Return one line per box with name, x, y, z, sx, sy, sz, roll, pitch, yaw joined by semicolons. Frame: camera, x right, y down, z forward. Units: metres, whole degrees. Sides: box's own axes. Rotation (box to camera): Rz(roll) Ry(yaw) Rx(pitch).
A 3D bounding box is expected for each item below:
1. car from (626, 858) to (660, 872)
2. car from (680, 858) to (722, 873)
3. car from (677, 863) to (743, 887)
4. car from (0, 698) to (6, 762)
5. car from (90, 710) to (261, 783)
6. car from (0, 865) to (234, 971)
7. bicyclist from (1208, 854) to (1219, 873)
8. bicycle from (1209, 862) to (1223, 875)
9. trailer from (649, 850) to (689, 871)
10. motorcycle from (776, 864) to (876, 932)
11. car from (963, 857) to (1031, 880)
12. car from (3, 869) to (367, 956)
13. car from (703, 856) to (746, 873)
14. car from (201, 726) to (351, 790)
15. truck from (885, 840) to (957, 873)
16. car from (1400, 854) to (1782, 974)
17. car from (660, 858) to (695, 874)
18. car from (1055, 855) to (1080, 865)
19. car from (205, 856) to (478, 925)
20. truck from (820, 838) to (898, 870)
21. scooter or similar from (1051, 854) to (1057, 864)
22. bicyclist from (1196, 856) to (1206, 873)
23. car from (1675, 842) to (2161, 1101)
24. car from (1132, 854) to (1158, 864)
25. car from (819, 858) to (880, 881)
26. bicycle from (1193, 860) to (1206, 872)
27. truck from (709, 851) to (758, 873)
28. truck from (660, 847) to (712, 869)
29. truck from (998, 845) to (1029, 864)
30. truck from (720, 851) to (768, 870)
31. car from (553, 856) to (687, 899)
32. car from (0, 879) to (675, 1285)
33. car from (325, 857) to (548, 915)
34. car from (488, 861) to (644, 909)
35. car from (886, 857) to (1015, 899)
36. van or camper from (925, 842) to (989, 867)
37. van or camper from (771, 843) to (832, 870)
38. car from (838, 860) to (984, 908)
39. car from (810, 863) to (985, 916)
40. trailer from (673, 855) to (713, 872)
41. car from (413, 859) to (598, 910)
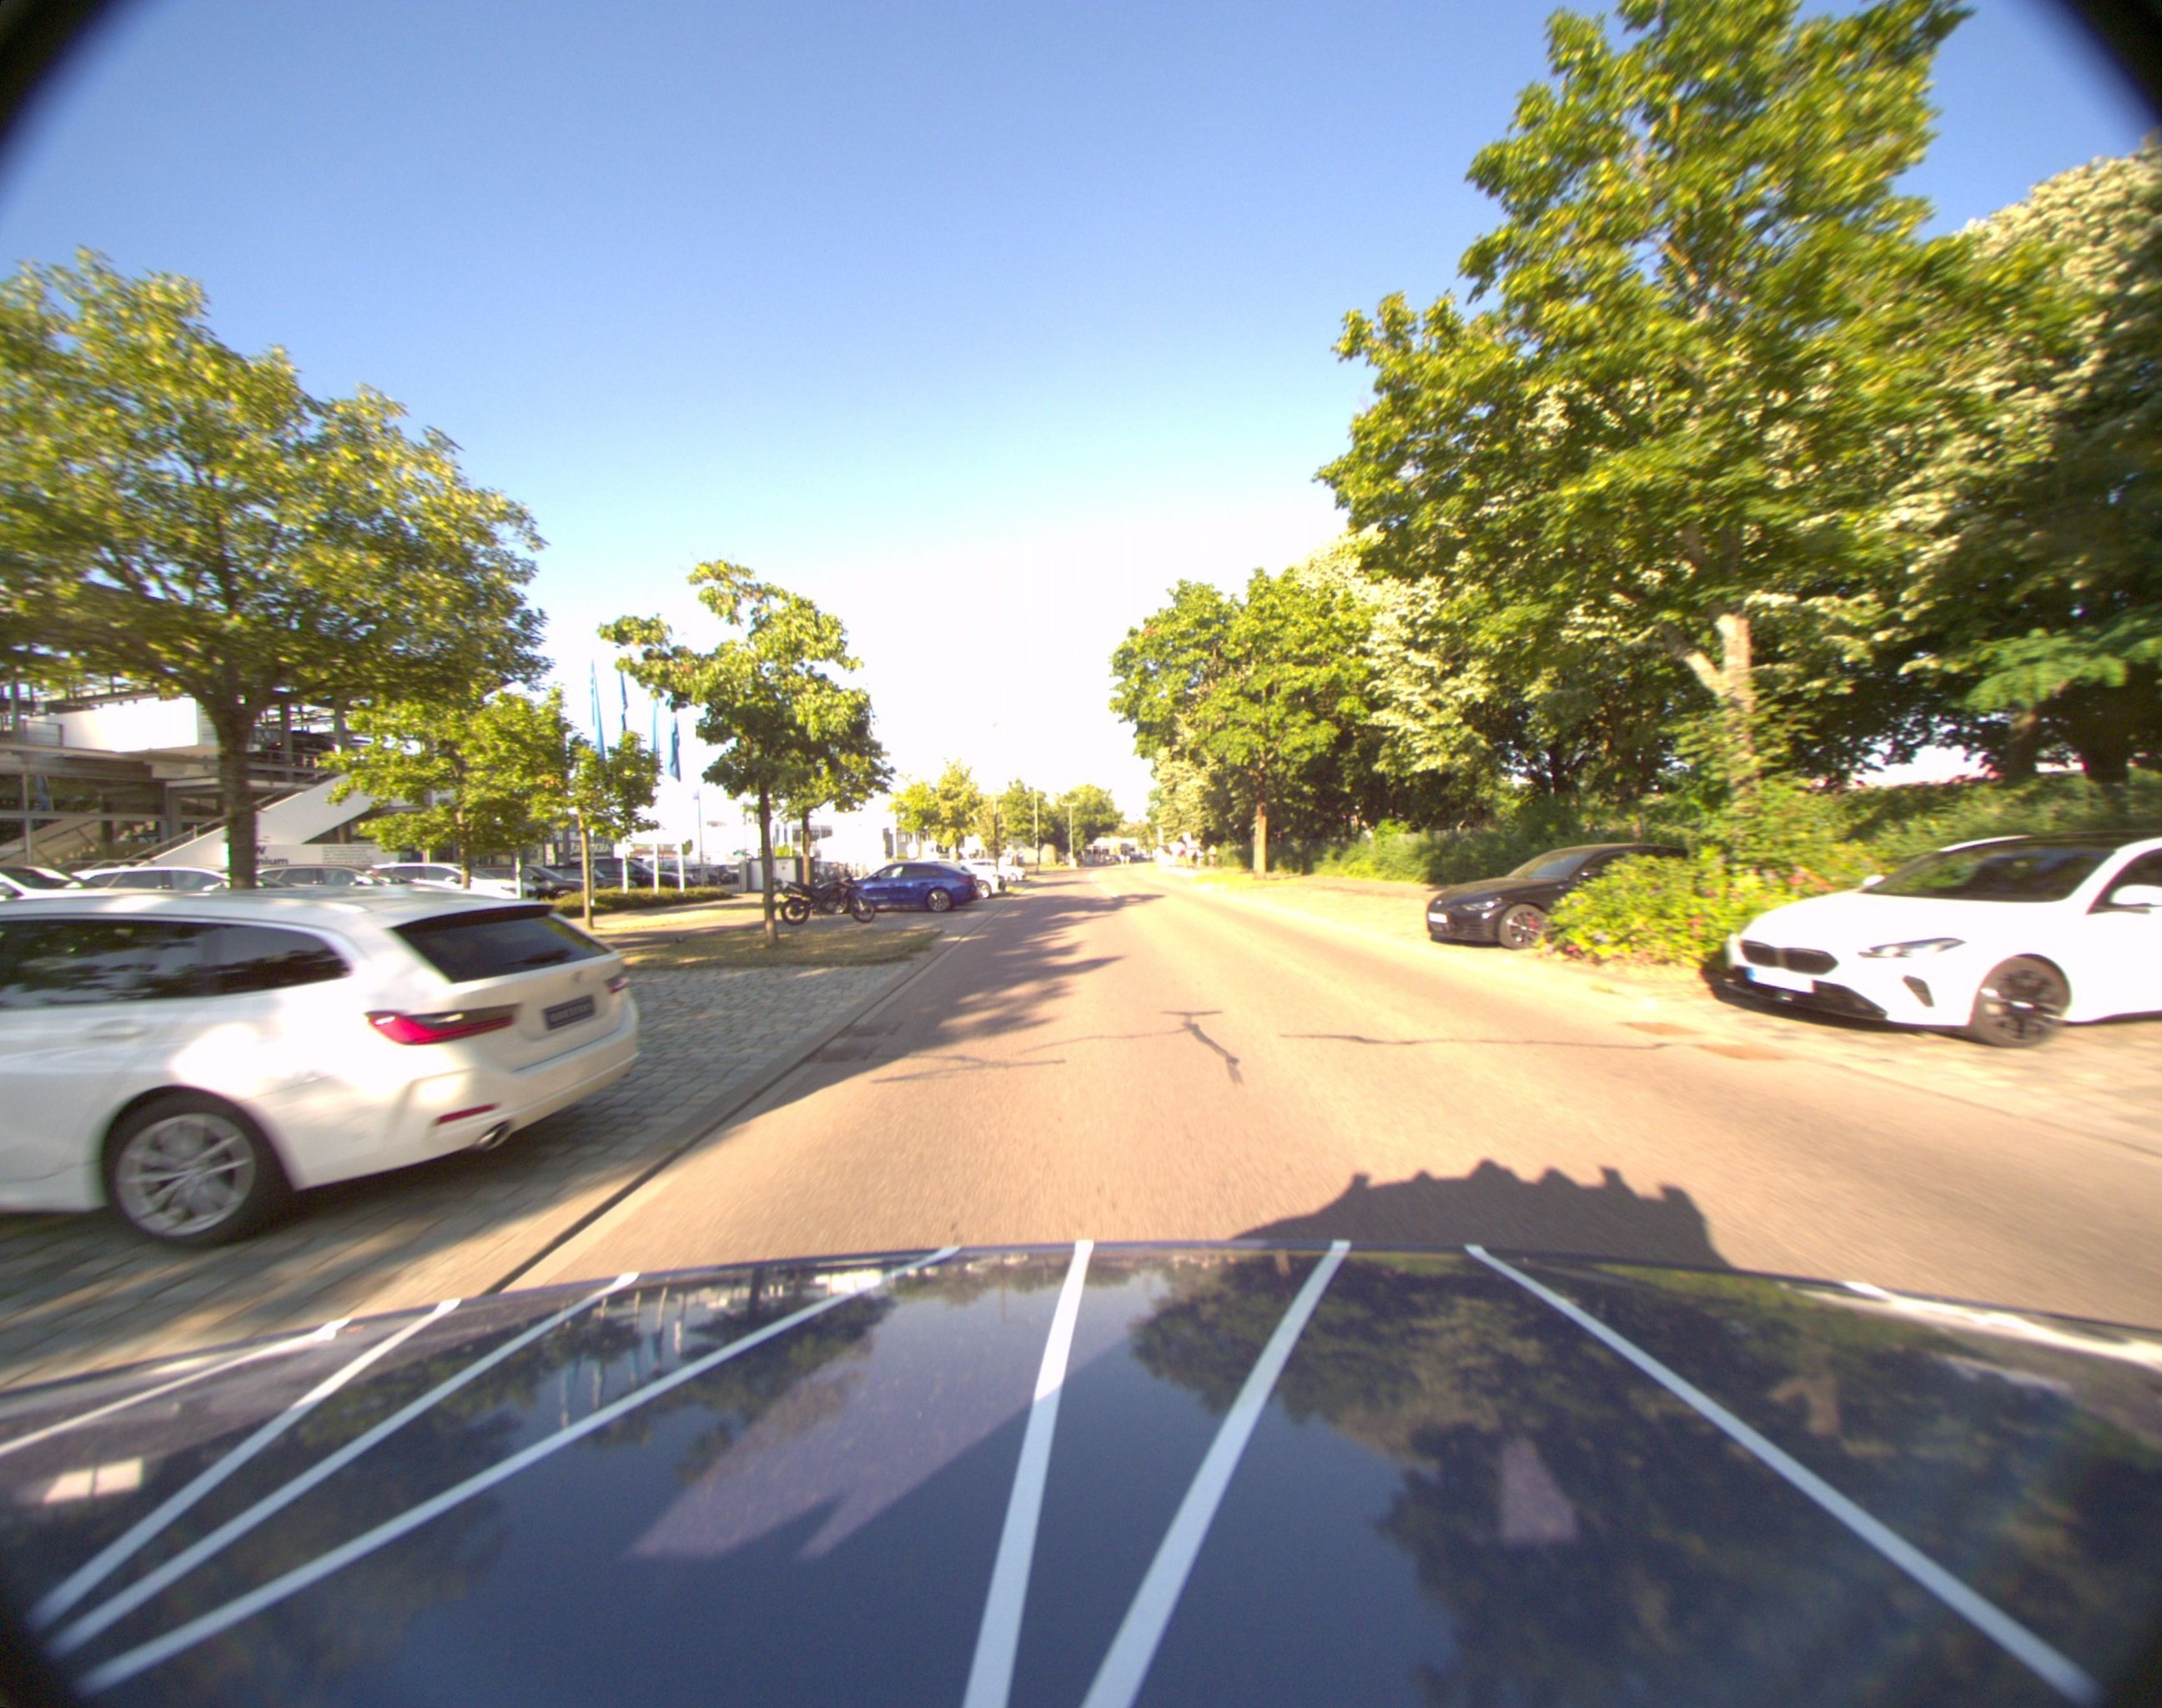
car;-67.529;1.627;117.082;1.995;2.002;4.008;-1;0;31
car;-54.547;1.618;109.083;1.995;2.002;5.061;-1;0;30
car;-27.563;1.520;56.500;3.991;1.570;2.162;-1;3;19
car;-30.326;-3.101;19.441;3.993;1.656;1.789;-4;-1;13
car;-28.744;-3.351;24.153;3.993;1.656;1.789;-4;-1;13
car;-18.761;1.073;13.252;4.734;1.680;2.407;0;0;-22
bicyclist;10.692;0.742;61.308;0.732;1.521;0.951;-1;0;0
bicycle;10.895;1.154;61.350;0.767;1.033;2.217;-1;0;0
trailer;-61.941;0.978;114.358;1.995;3.051;4.867;-1;0;31
motorcycle;-5.914;0.999;17.761;2.131;1.457;0.948;-1;0;-16
car;-5.429;0.924;49.640;4.209;1.435;2.088;0;0;-2
car;-18.755;1.141;16.299;4.611;1.565;1.996;0;0;-27
car;-49.530;1.425;105.547;1.995;2.001;5.060;-4;-1;30
car;-28.386;-3.334;26.826;3.993;1.656;1.789;-4;-1;13
truck;-17.981;0.357;85.362;8.231;3.501;3.121;-1;0;36
car;7.742;0.859;11.853;4.661;1.413;1.916;-4;0;-2
car;-59.558;1.727;112.136;2.083;2.264;4.008;-1;0;31
car;-2.836;1.362;161.821;4.833;2.002;2.304;-2;0;38
car;-18.634;0.846;19.506;4.611;1.565;1.996;0;0;-27
truck;-26.618;0.030;90.875;10.091;3.623;3.302;-1;0;35
scooter or similar;-3.840;0.687;107.966;0.547;1.328;1.483;-1;0;14
bicyclist;10.861;0.913;68.755;0.732;1.521;0.951;-1;0;0
car;7.779;0.791;6.152;4.297;1.522;2.000;-4;0;1
car;14.058;1.045;166.393;5.275;2.002;2.410;-2;0;39
car;-17.517;1.174;57.484;3.991;1.569;2.003;-1;0;19
bicycle;10.781;1.119;69.246;0.767;1.033;2.217;-2;0;0
truck;-56.231;1.211;123.057;1.995;3.331;7.127;-1;0;32
truck;-65.515;0.662;126.141;2.670;3.554;7.127;-1;0;32
truck;-10.181;0.040;115.483;2.541;2.704;5.979;-2;0;16
truck;-53.780;0.942;121.368;1.995;2.889;7.127;-1;0;32
car;-19.129;0.944;31.824;4.611;1.657;1.996;0;0;-26
car;-4.965;0.907;3.844;4.707;1.471;2.000;0;0;-2
car;-18.867;0.898;22.532;4.608;1.565;1.997;0;0;-15
car;-19.149;1.101;28.539;4.611;1.657;1.996;0;0;-27
car;-4.987;0.902;29.501;4.601;1.575;2.000;0;0;1
van or camper;-15.860;0.081;96.974;7.990;2.883;2.948;-1;0;31
van or camper;-36.106;0.366;98.057;8.118;3.309;2.419;-1;0;27
car;-5.512;0.961;25.096;4.387;1.471;2.000;0;0;-1
car;-5.273;1.014;22.329;4.636;1.448;2.000;0;0;-1
trailer;-57.061;1.370;111.869;1.995;2.422;4.867;-1;0;31
car;-19.037;0.954;25.441;4.611;1.565;1.996;0;0;-27
